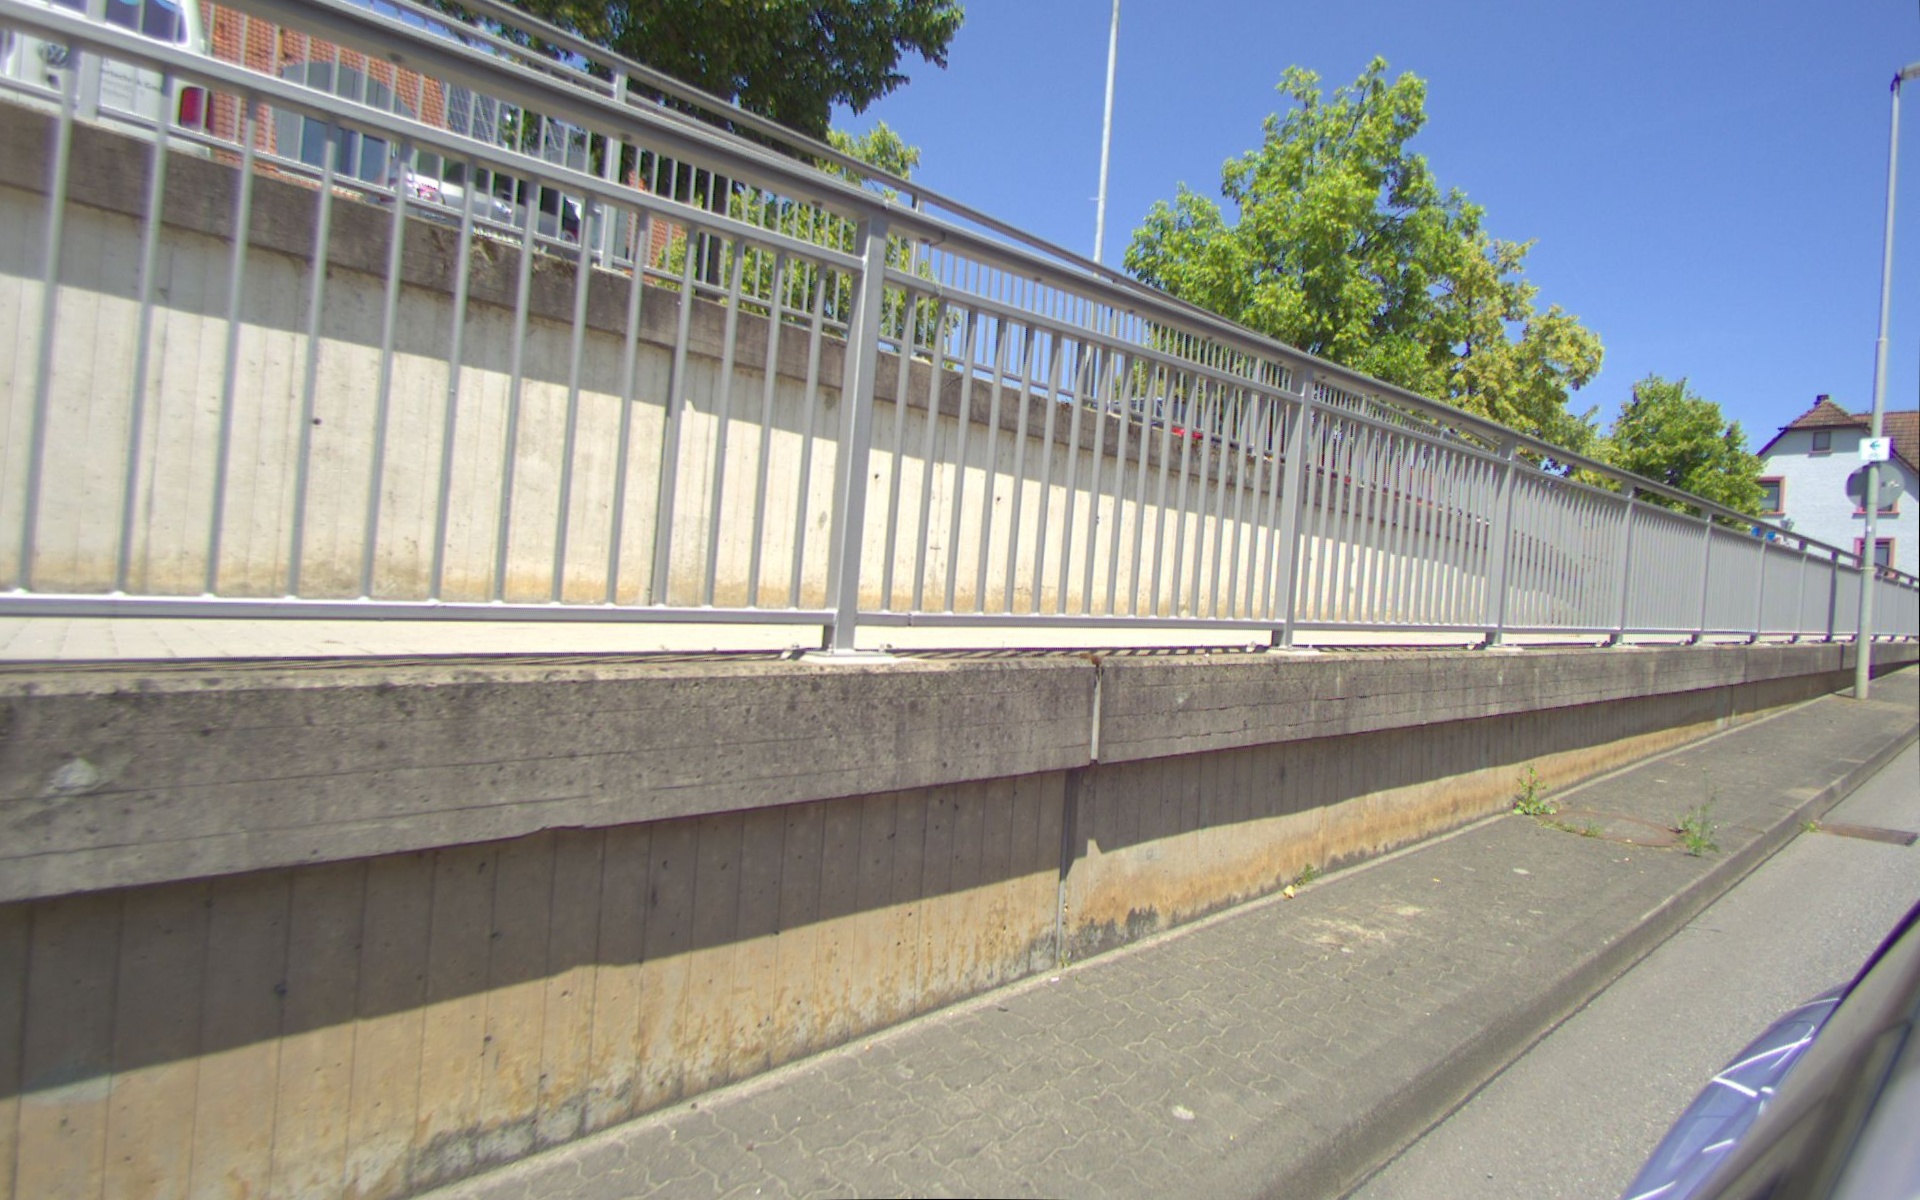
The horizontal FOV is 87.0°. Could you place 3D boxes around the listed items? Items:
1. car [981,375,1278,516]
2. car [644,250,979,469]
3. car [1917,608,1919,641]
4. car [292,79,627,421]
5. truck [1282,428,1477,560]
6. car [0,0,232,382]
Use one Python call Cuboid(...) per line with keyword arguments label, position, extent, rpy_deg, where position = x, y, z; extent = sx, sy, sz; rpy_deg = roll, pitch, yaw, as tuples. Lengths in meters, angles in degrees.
Cuboid(label="car", position=(2.350, -2.135, 14.969), extent=(1.655, 1.517, 4.214), rpy_deg=(4, 0, -39))
Cuboid(label="car", position=(-1.868, -2.482, 11.463), extent=(1.717, 1.517, 4.296), rpy_deg=(4, 0, -39))
Cuboid(label="car", position=(36.451, 0.871, 35.792), extent=(3.672, 1.496, 1.747), rpy_deg=(5, 2, 44))
Cuboid(label="car", position=(-4.606, -2.732, 8.952), extent=(1.655, 1.616, 4.214), rpy_deg=(4, 0, -39))
Cuboid(label="truck", position=(9.921, -2.317, 23.708), extent=(5.168, 2.364, 2.136), rpy_deg=(4, -1, -42))
Cuboid(label="car", position=(-6.708, -3.133, 7.335), extent=(1.953, 2.089, 5.124), rpy_deg=(4, 0, -39))
